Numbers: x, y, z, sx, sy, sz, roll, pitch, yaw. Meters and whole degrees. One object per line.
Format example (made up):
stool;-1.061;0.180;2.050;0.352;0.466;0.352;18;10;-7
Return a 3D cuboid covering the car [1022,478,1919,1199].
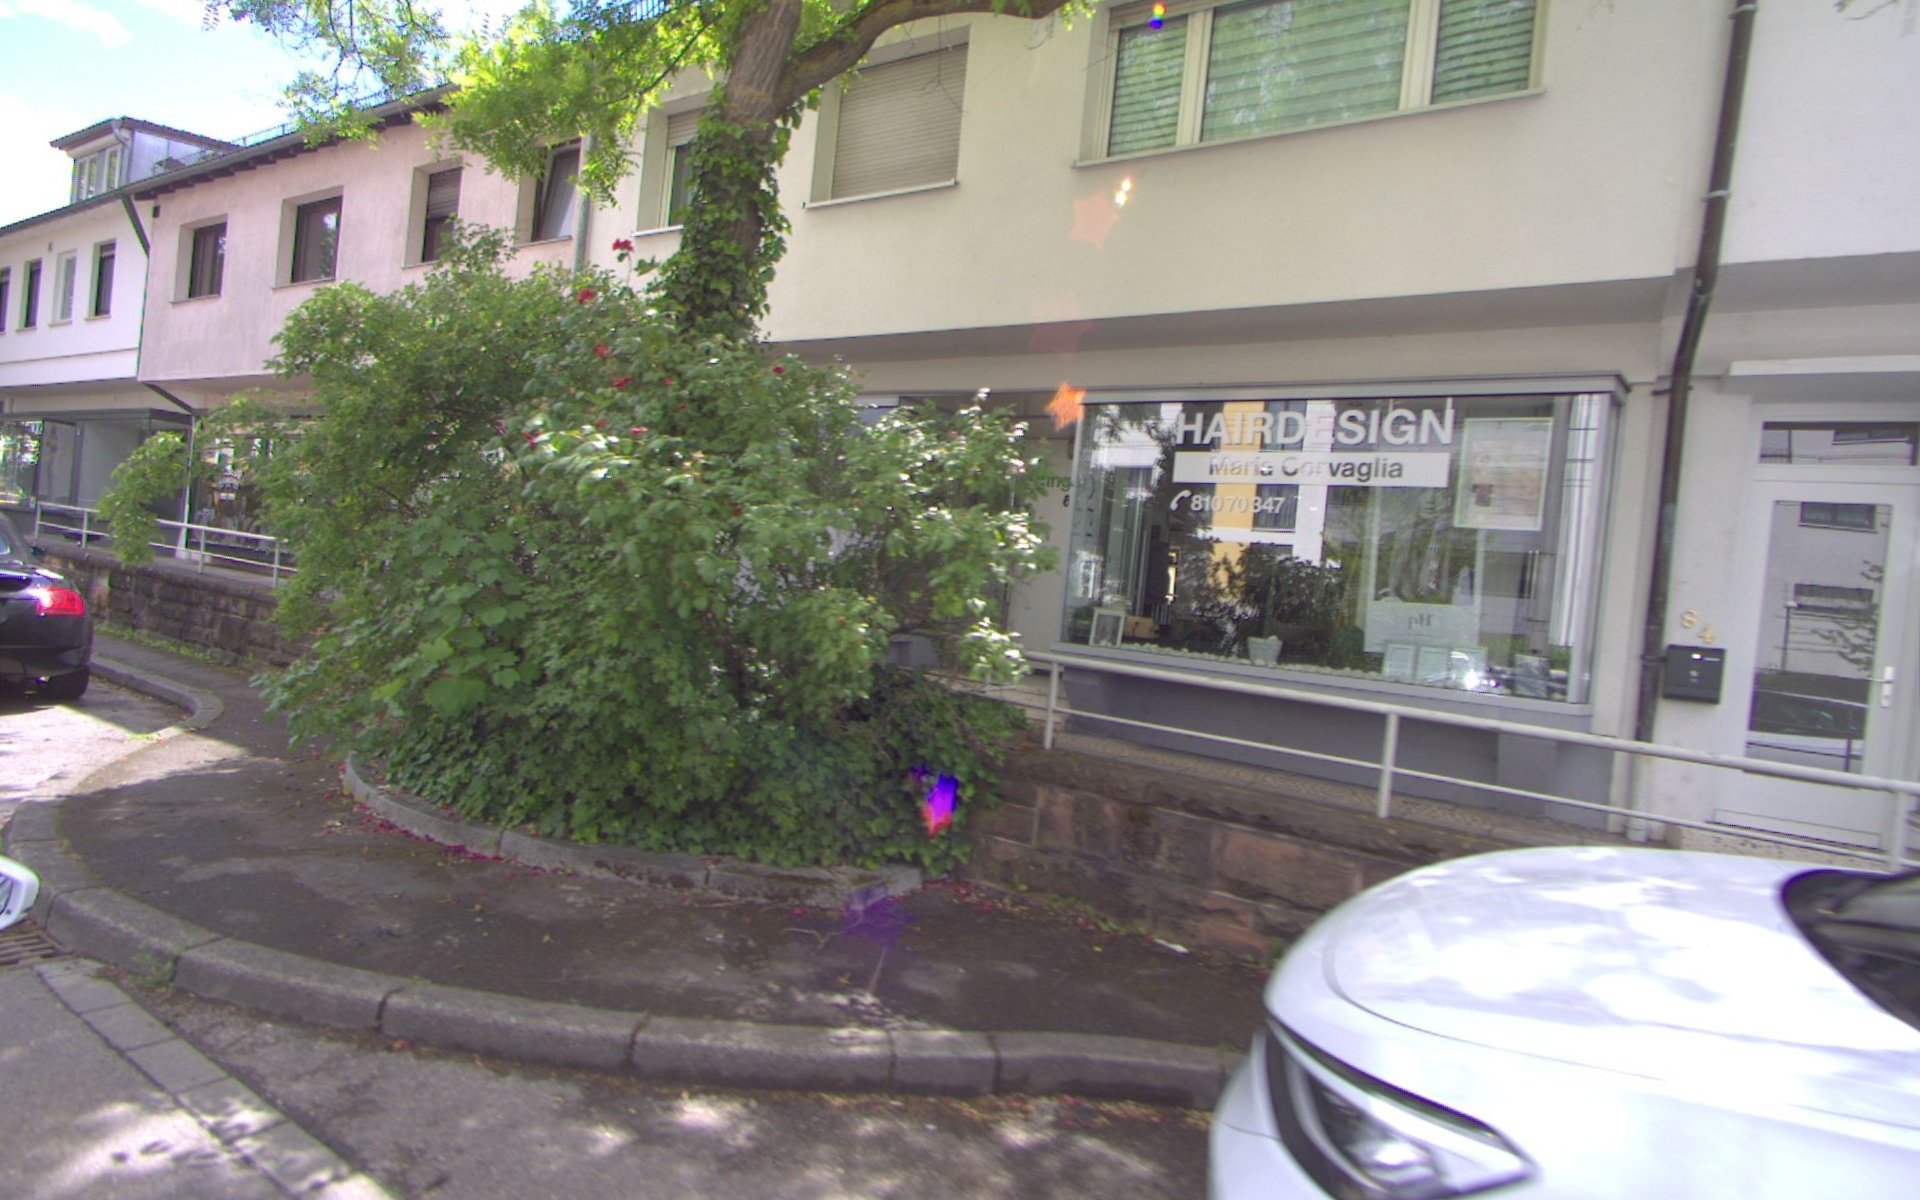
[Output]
car;2.419;0.940;1.069;4.356;1.663;1.840;7;0;31

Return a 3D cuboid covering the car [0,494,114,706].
car;-8.013;-0.174;7.433;3.938;1.367;1.770;6;2;36
